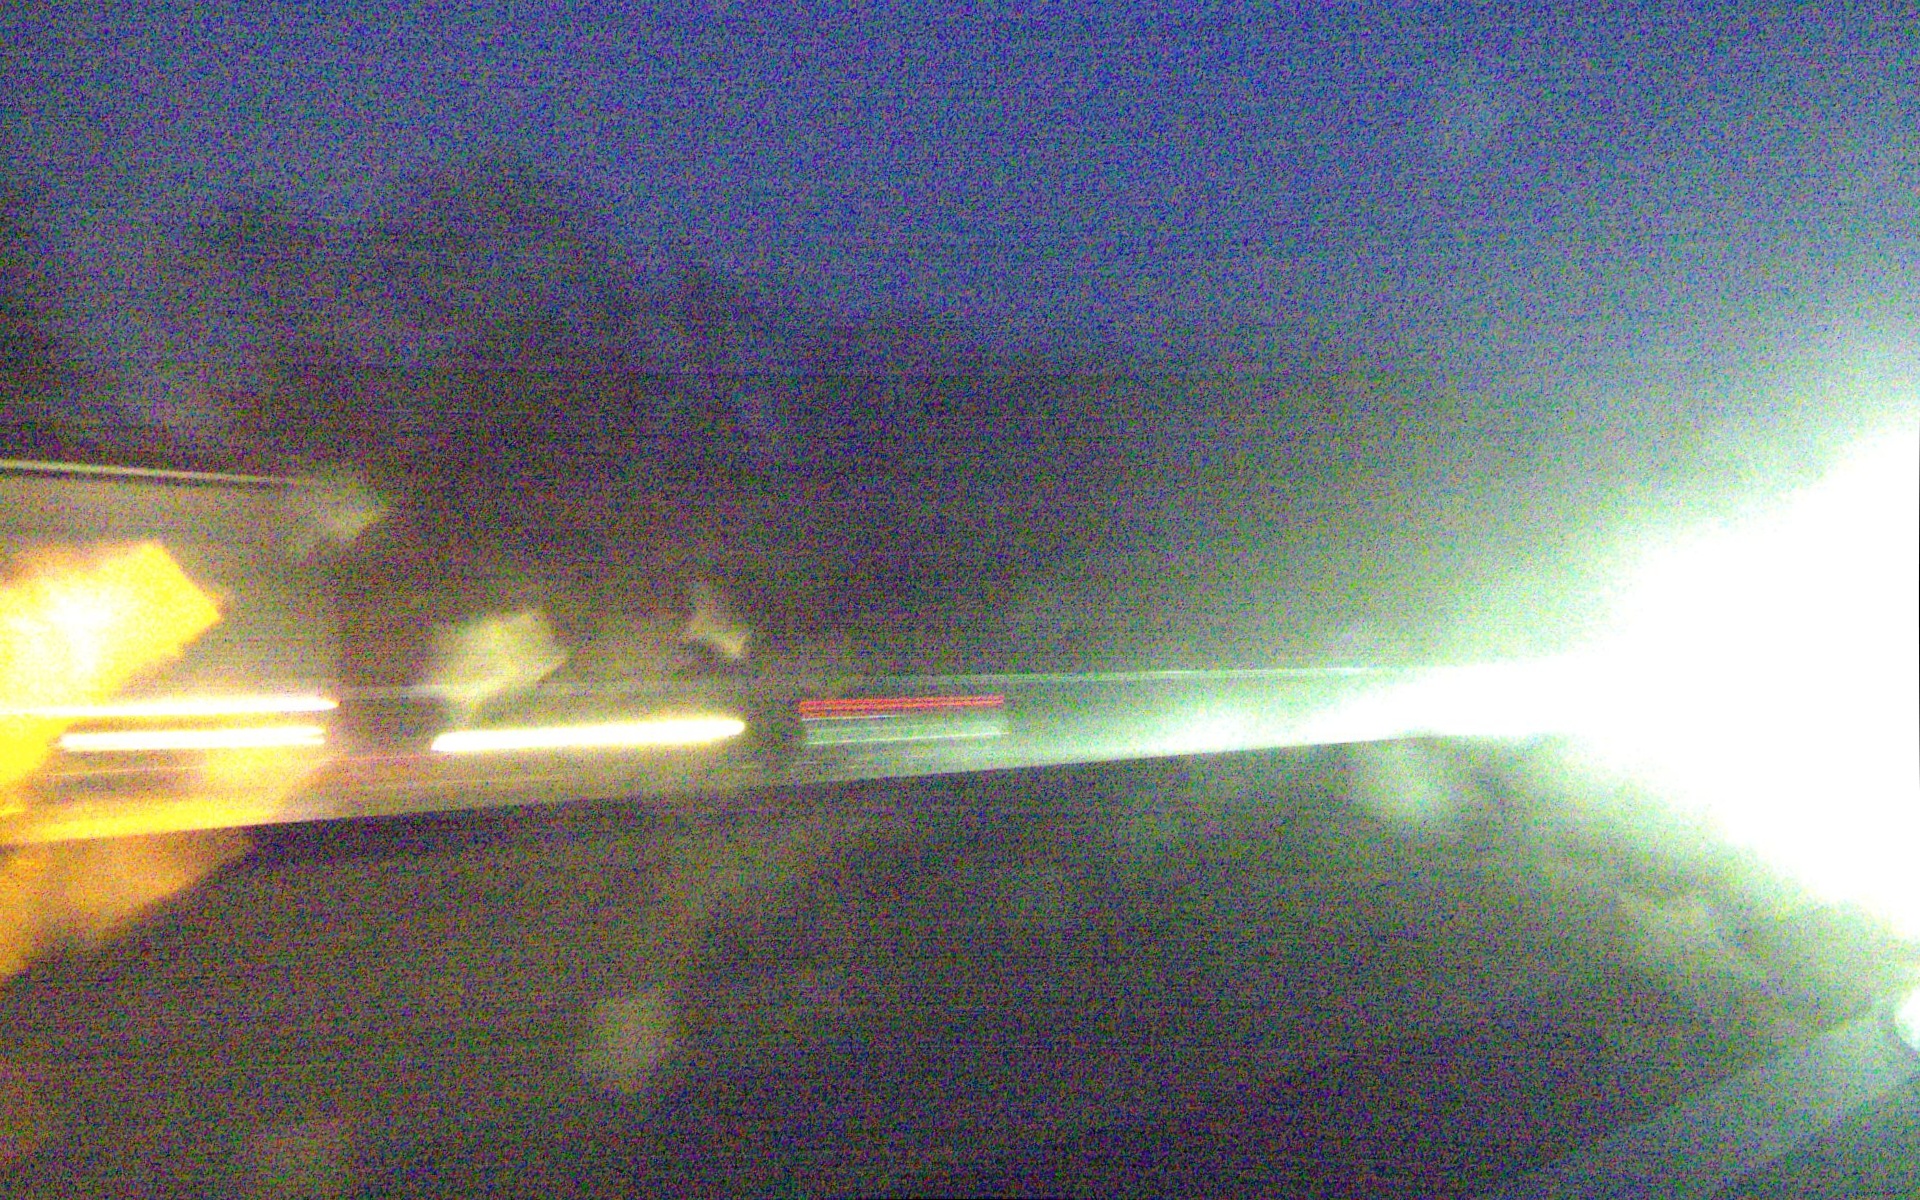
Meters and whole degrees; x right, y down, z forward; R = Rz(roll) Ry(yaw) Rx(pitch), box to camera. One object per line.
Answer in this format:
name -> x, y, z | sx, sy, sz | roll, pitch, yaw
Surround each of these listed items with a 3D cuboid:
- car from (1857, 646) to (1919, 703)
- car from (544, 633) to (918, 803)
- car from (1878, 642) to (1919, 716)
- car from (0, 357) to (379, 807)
car -> 30.518, 2.331, 31.750 | 4.453, 1.706, 1.908 | 2, -3, -30
car -> -2.690, 1.297, 11.969 | 3.953, 1.706, 1.908 | 2, -3, -30
car -> 23.893, 1.886, 23.899 | 3.953, 1.706, 1.908 | 2, -3, -30
car -> -12.694, -0.222, 11.384 | 10.468, 4.792, 3.688 | 0, 1, -30
